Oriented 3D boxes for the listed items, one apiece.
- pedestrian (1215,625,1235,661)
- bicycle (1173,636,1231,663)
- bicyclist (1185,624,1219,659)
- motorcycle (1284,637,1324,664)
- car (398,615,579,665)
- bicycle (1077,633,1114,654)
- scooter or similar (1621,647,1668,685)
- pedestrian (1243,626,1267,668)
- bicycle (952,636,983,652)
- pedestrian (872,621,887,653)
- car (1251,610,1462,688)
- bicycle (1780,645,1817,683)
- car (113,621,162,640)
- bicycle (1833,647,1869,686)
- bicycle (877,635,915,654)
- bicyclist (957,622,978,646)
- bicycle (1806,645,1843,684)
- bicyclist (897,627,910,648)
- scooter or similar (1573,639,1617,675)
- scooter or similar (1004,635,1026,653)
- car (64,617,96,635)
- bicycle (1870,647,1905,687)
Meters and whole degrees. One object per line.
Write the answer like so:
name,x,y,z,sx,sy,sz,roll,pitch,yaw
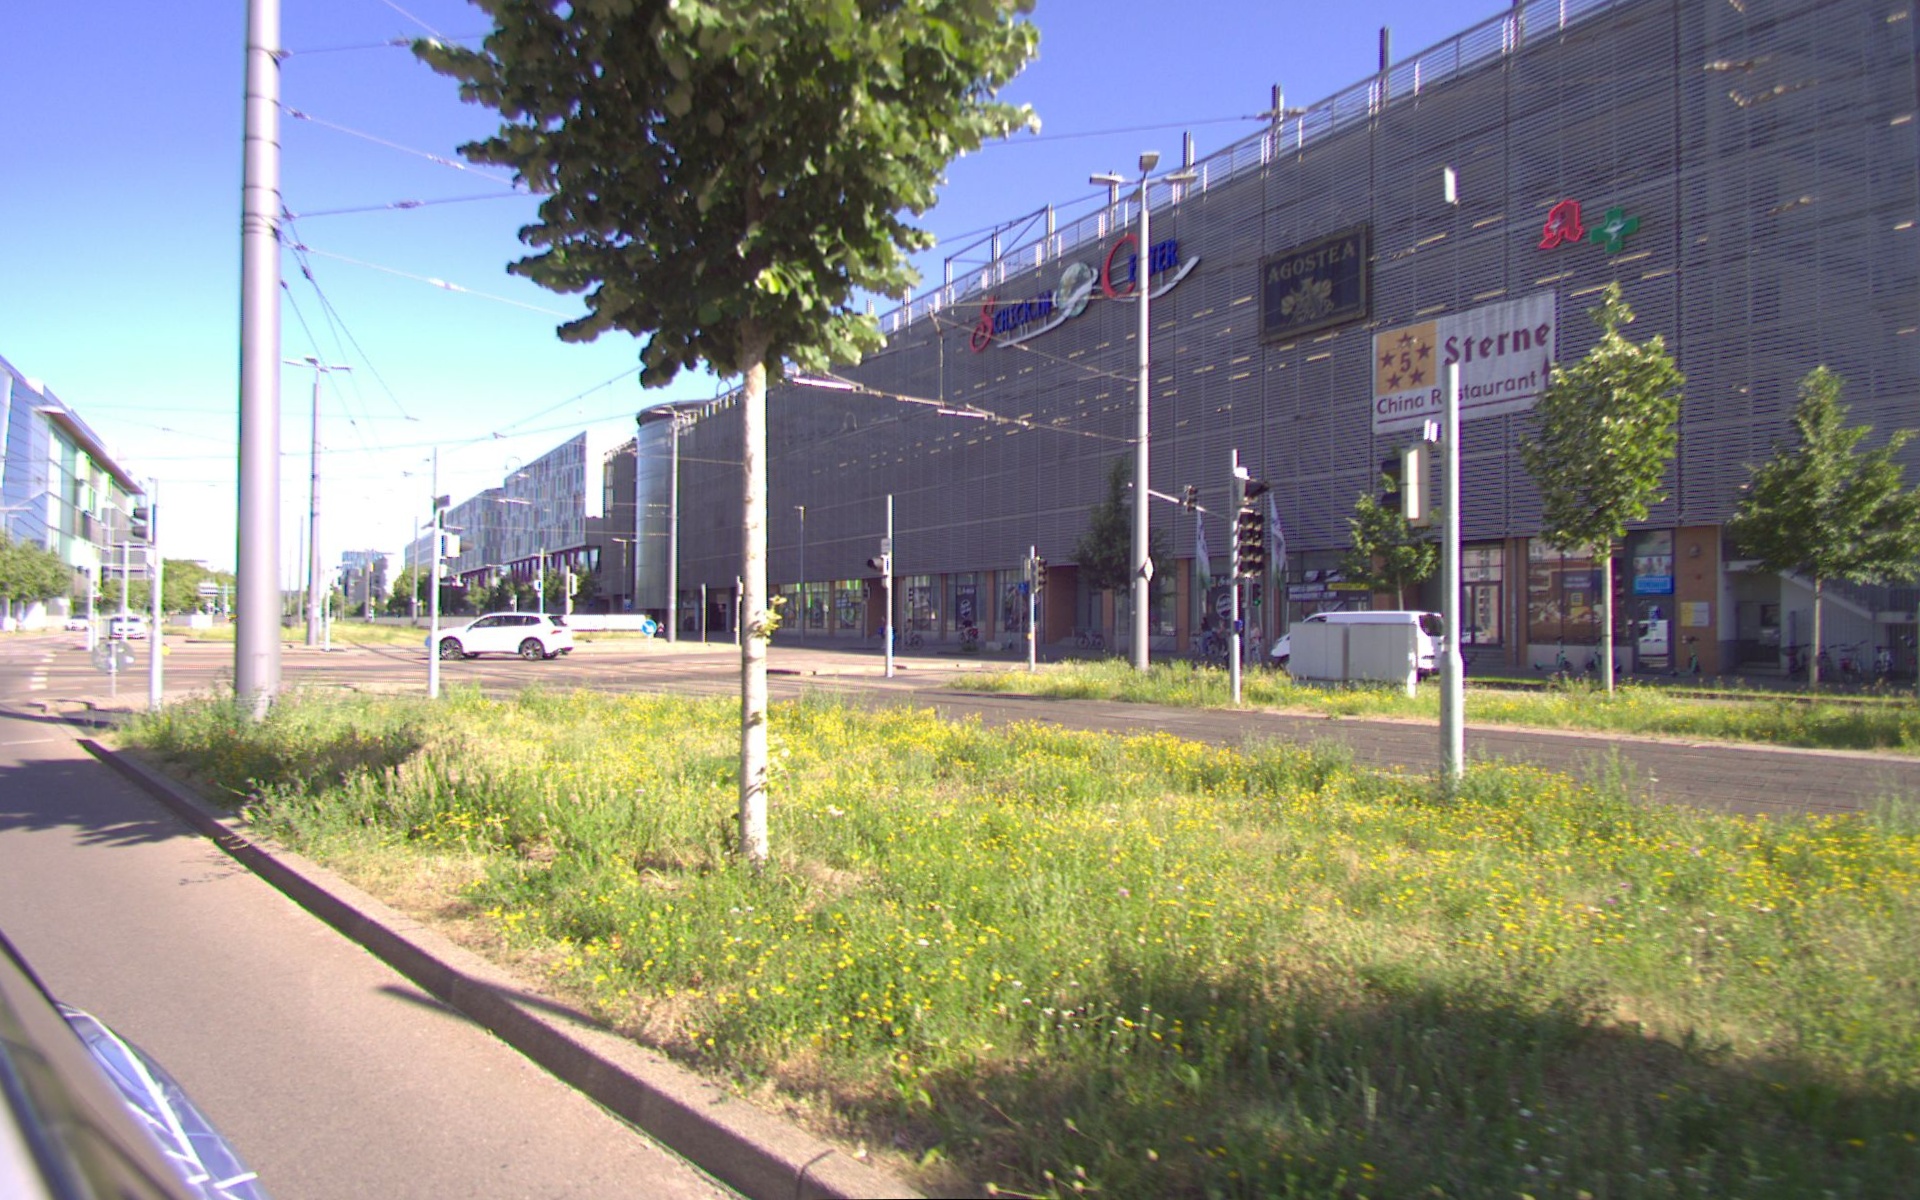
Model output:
pedestrian,11.282,1.831,43.047,0.483,1.530,0.651,1,-2,-32
bicycle,9.974,2.032,41.832,0.588,1.018,2.575,1,-2,-35
bicyclist,9.999,1.716,41.799,0.584,1.418,1.316,1,-2,-35
motorcycle,13.890,2.014,40.916,0.395,1.046,1.623,1,-2,-36
car,-16.443,1.383,35.490,5.465,1.664,1.815,0,-1,-2
bicycle,6.768,2.172,50.656,0.564,1.046,1.954,1,-2,-40
scooter or similar,21.681,2.084,32.058,0.272,1.111,1.209,2,0,-34
pedestrian,10.640,1.675,36.515,0.481,1.498,0.743,1,-1,-27
bicycle,0.412,2.463,57.221,0.671,0.874,2.052,1,-2,-37
pedestrian,-4.486,2.050,56.610,0.624,1.764,0.582,-1,-2,35
car,11.319,1.339,29.168,5.258,2.029,2.195,-1,-2,44
bicycle,23.663,1.801,28.554,2.147,0.962,0.493,0,-1,-42
car,-49.220,1.810,60.602,1.967,1.098,4.010,1,-2,-35
bicycle,24.462,1.813,27.768,2.147,0.962,0.493,0,-1,-42
bicycle,-3.474,2.387,54.634,2.007,0.993,0.556,0,-2,21
bicyclist,0.407,1.910,57.236,0.671,1.328,1.042,1,-2,-37
bicycle,24.067,1.784,28.162,2.147,0.962,0.493,0,-1,-42
bicyclist,-3.035,2.010,54.462,0.559,1.148,0.556,0,-2,21
scooter or similar,20.928,1.859,33.389,0.272,1.111,1.209,2,0,-34
scooter or similar,2.691,2.142,49.405,0.296,0.857,1.229,1,-2,-39
car,-88.298,2.572,101.630,1.967,1.741,4.010,1,-2,-35
bicycle,24.787,1.768,27.038,2.147,0.962,0.493,0,-1,-42
